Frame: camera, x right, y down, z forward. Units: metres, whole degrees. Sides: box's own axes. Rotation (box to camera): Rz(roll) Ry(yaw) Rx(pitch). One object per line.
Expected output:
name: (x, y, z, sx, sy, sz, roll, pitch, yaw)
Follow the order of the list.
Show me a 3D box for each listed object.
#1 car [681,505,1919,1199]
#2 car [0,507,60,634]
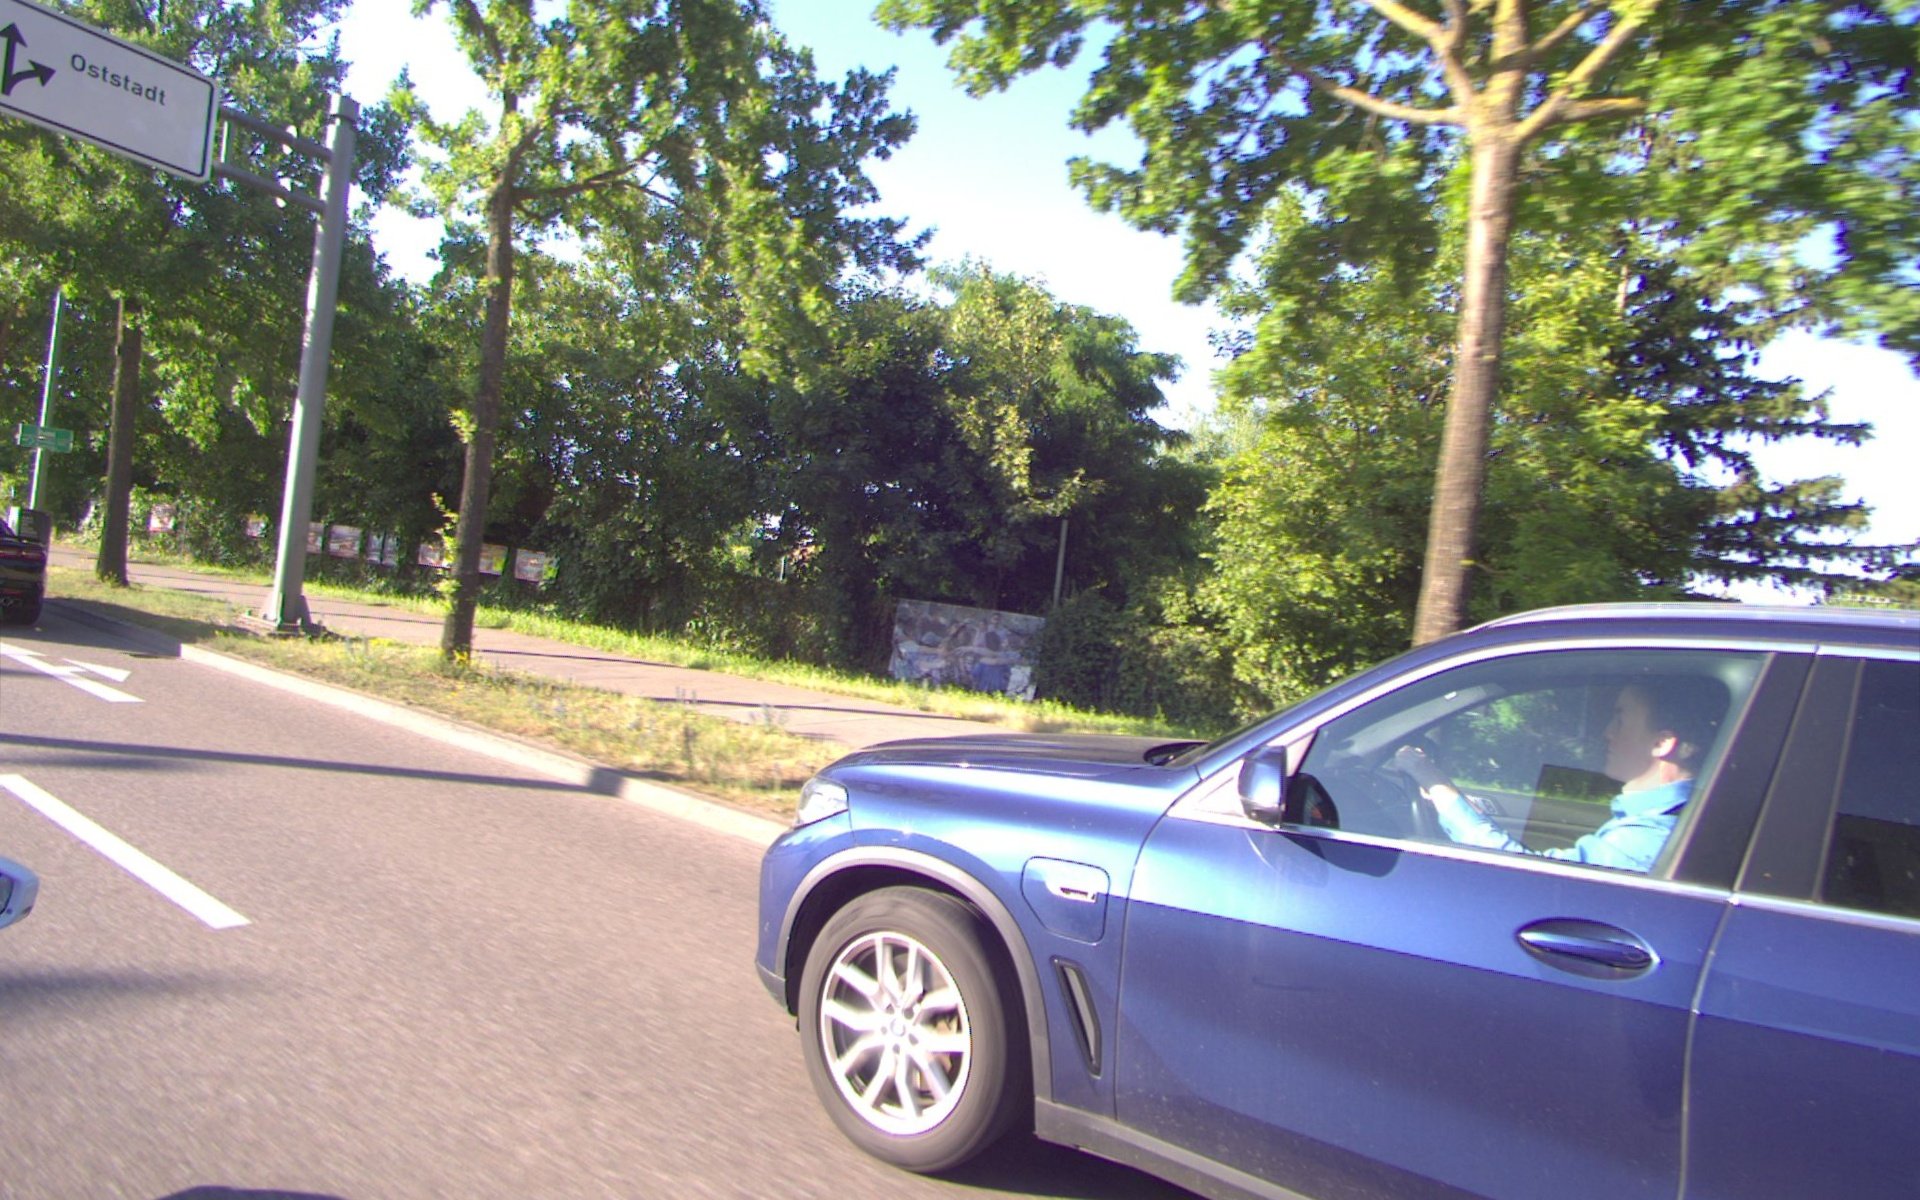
car: (1.672, 0.884, 2.685, 4.623, 1.747, 1.957, 7, -1, 33)
car: (-12.965, -0.605, 12.317, 4.552, 1.354, 1.856, 7, -1, 35)
